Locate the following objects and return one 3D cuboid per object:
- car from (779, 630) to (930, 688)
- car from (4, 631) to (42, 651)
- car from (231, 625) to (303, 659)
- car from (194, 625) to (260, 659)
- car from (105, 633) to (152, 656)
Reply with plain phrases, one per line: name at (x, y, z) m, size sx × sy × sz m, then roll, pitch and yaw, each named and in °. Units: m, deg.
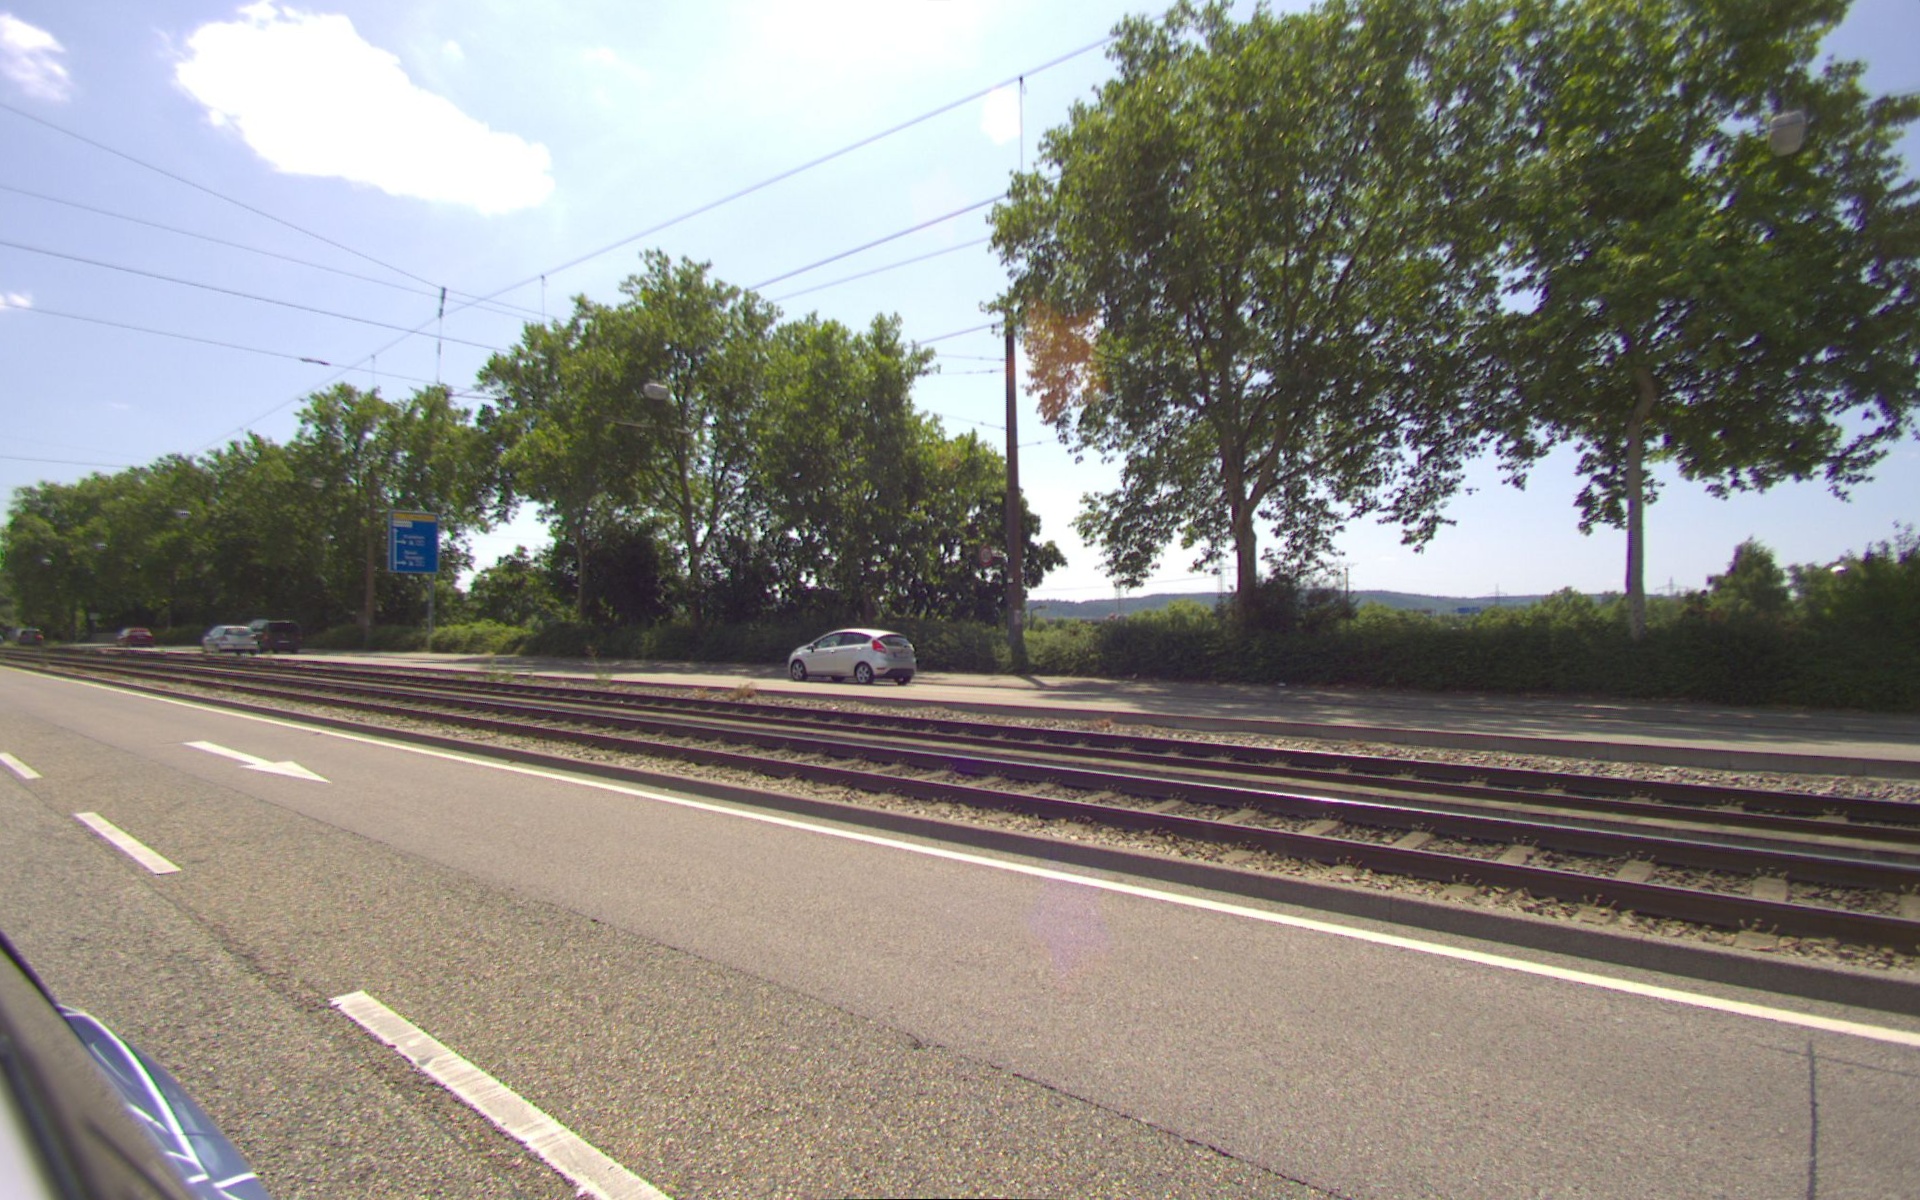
car at (-2.874, 1.552, 27.125) m, size 3.879 × 1.427 × 1.804 m, roll -1°, pitch -4°, yaw 39°
car at (-90.503, 4.008, 97.713) m, size 4.965 × 1.845 × 1.973 m, roll -2°, pitch -4°, yaw 40°
car at (-38.894, 2.369, 56.739) m, size 4.965 × 1.845 × 1.973 m, roll -2°, pitch -4°, yaw 40°
car at (-36.480, 2.114, 50.333) m, size 4.055 × 1.596 × 1.668 m, roll -2°, pitch -5°, yaw 40°
car at (-64.521, 3.465, 78.528) m, size 4.464 × 1.683 × 1.973 m, roll -2°, pitch -4°, yaw 40°
